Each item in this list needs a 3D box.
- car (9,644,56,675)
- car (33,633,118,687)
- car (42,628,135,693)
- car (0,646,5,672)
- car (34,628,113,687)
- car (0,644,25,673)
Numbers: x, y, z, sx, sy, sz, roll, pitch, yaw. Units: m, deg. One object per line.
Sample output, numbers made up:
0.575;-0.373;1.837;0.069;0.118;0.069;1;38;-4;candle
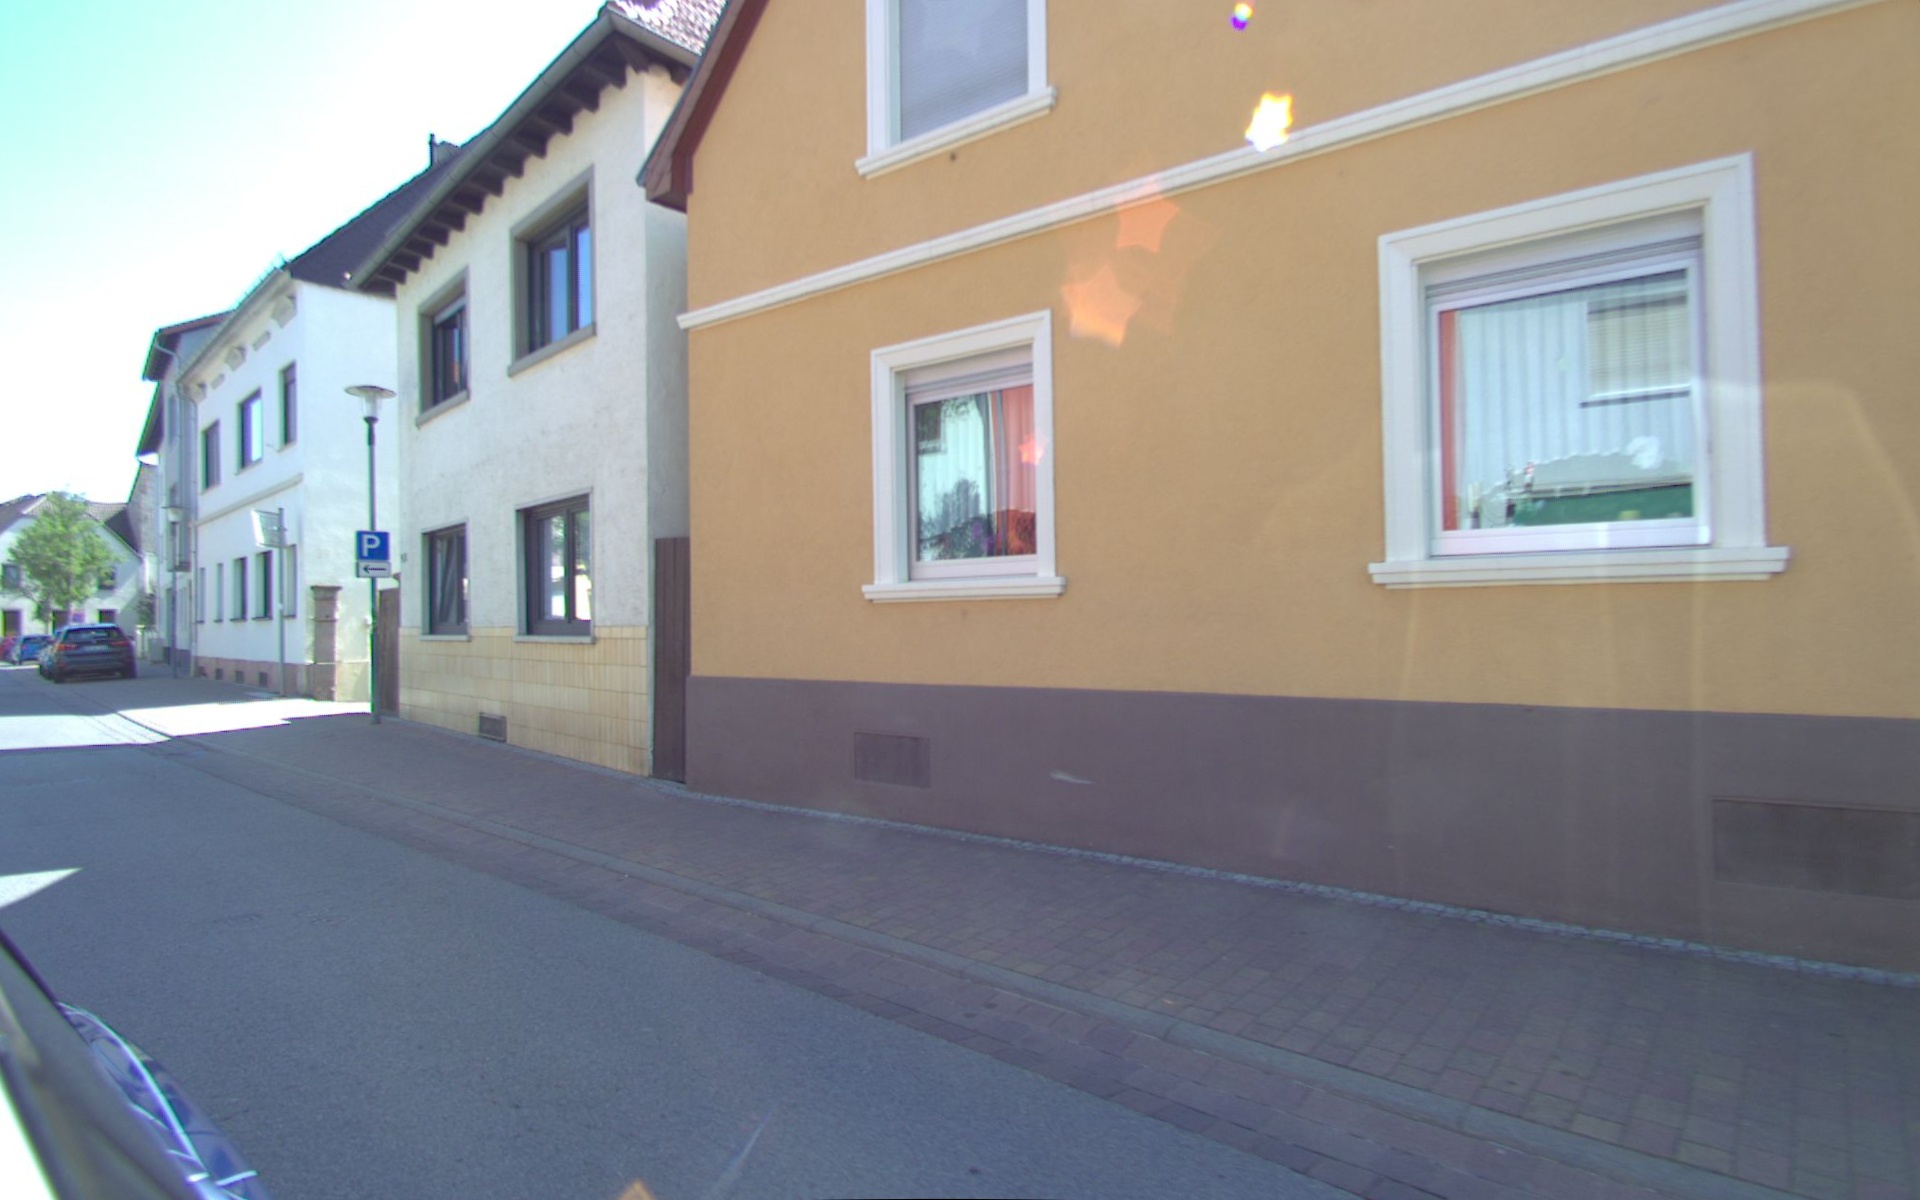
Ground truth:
-46.762;2.973;51.004;3.803;1.472;1.550;-2;-2;44;car
-28.757;1.908;32.862;1.889;1.627;3.989;1;-2;-44;car
-25.079;1.713;29.084;1.837;1.642;4.051;-2;-1;-43;car
-57.888;3.504;59.918;3.799;1.472;1.551;-2;-2;40;car
-31.790;2.031;36.247;1.970;1.962;4.112;0;-2;-44;car
-51.875;3.148;54.671;3.799;1.472;1.551;-2;-2;40;car
